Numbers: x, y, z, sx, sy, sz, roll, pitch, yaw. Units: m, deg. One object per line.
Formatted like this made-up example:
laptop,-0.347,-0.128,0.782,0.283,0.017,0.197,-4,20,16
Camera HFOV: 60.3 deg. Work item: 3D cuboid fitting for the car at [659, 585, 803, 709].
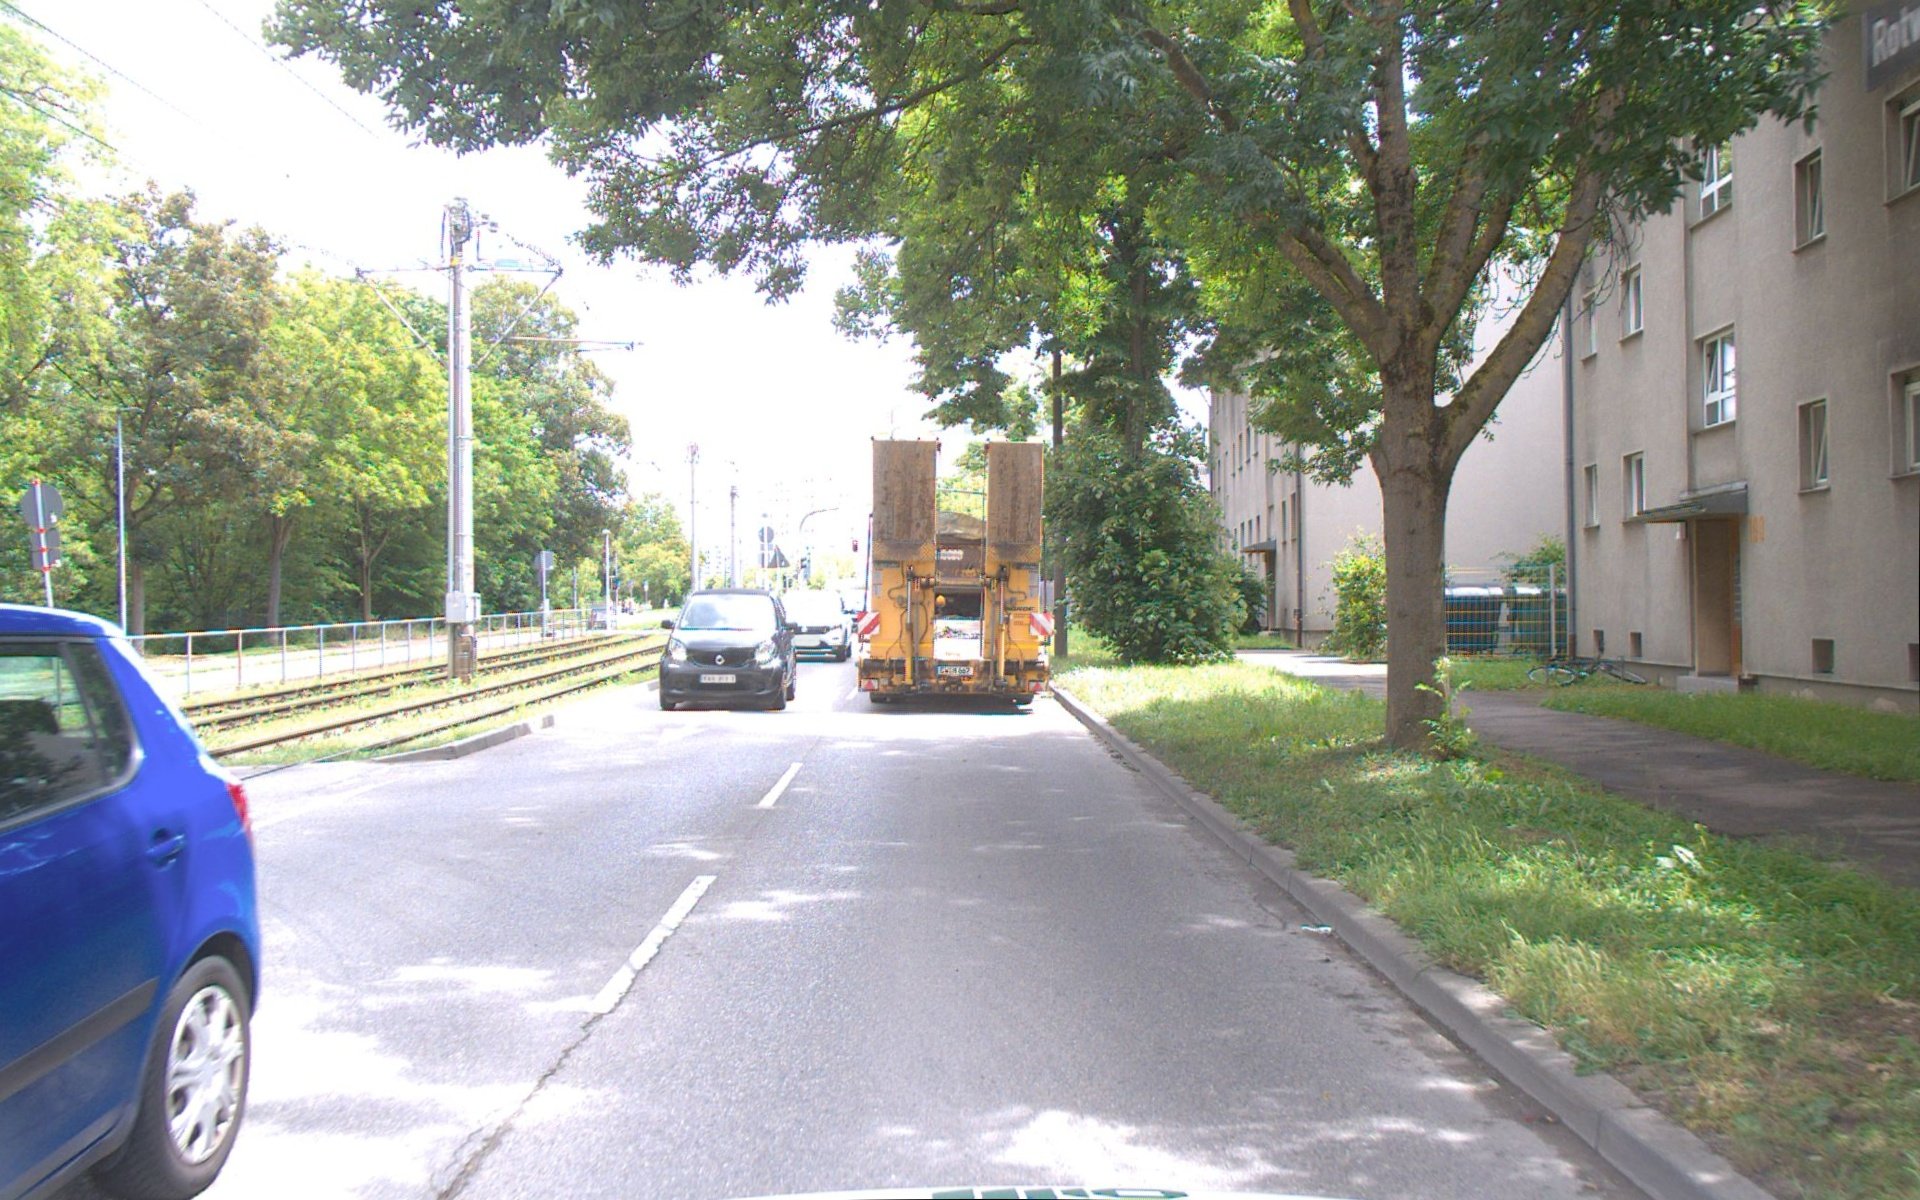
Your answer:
car,-3.064,0.585,22.655,1.604,1.560,3.273,1,1,-2

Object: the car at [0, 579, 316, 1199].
car,-2.552,0.710,2.753,1.549,1.511,3.805,1,0,-2

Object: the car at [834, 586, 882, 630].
car,-3.894,0.291,63.803,1.678,1.594,4.165,1,0,-2

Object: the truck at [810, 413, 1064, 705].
truck,-0.541,-0.460,27.484,3.249,3.715,12.555,0,-1,-2

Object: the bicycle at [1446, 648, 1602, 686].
bicycle,8.540,1.007,25.111,2.157,0.516,0.674,1,-1,10

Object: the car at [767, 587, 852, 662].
car,-3.390,0.509,37.871,1.682,1.571,3.999,1,1,-2
